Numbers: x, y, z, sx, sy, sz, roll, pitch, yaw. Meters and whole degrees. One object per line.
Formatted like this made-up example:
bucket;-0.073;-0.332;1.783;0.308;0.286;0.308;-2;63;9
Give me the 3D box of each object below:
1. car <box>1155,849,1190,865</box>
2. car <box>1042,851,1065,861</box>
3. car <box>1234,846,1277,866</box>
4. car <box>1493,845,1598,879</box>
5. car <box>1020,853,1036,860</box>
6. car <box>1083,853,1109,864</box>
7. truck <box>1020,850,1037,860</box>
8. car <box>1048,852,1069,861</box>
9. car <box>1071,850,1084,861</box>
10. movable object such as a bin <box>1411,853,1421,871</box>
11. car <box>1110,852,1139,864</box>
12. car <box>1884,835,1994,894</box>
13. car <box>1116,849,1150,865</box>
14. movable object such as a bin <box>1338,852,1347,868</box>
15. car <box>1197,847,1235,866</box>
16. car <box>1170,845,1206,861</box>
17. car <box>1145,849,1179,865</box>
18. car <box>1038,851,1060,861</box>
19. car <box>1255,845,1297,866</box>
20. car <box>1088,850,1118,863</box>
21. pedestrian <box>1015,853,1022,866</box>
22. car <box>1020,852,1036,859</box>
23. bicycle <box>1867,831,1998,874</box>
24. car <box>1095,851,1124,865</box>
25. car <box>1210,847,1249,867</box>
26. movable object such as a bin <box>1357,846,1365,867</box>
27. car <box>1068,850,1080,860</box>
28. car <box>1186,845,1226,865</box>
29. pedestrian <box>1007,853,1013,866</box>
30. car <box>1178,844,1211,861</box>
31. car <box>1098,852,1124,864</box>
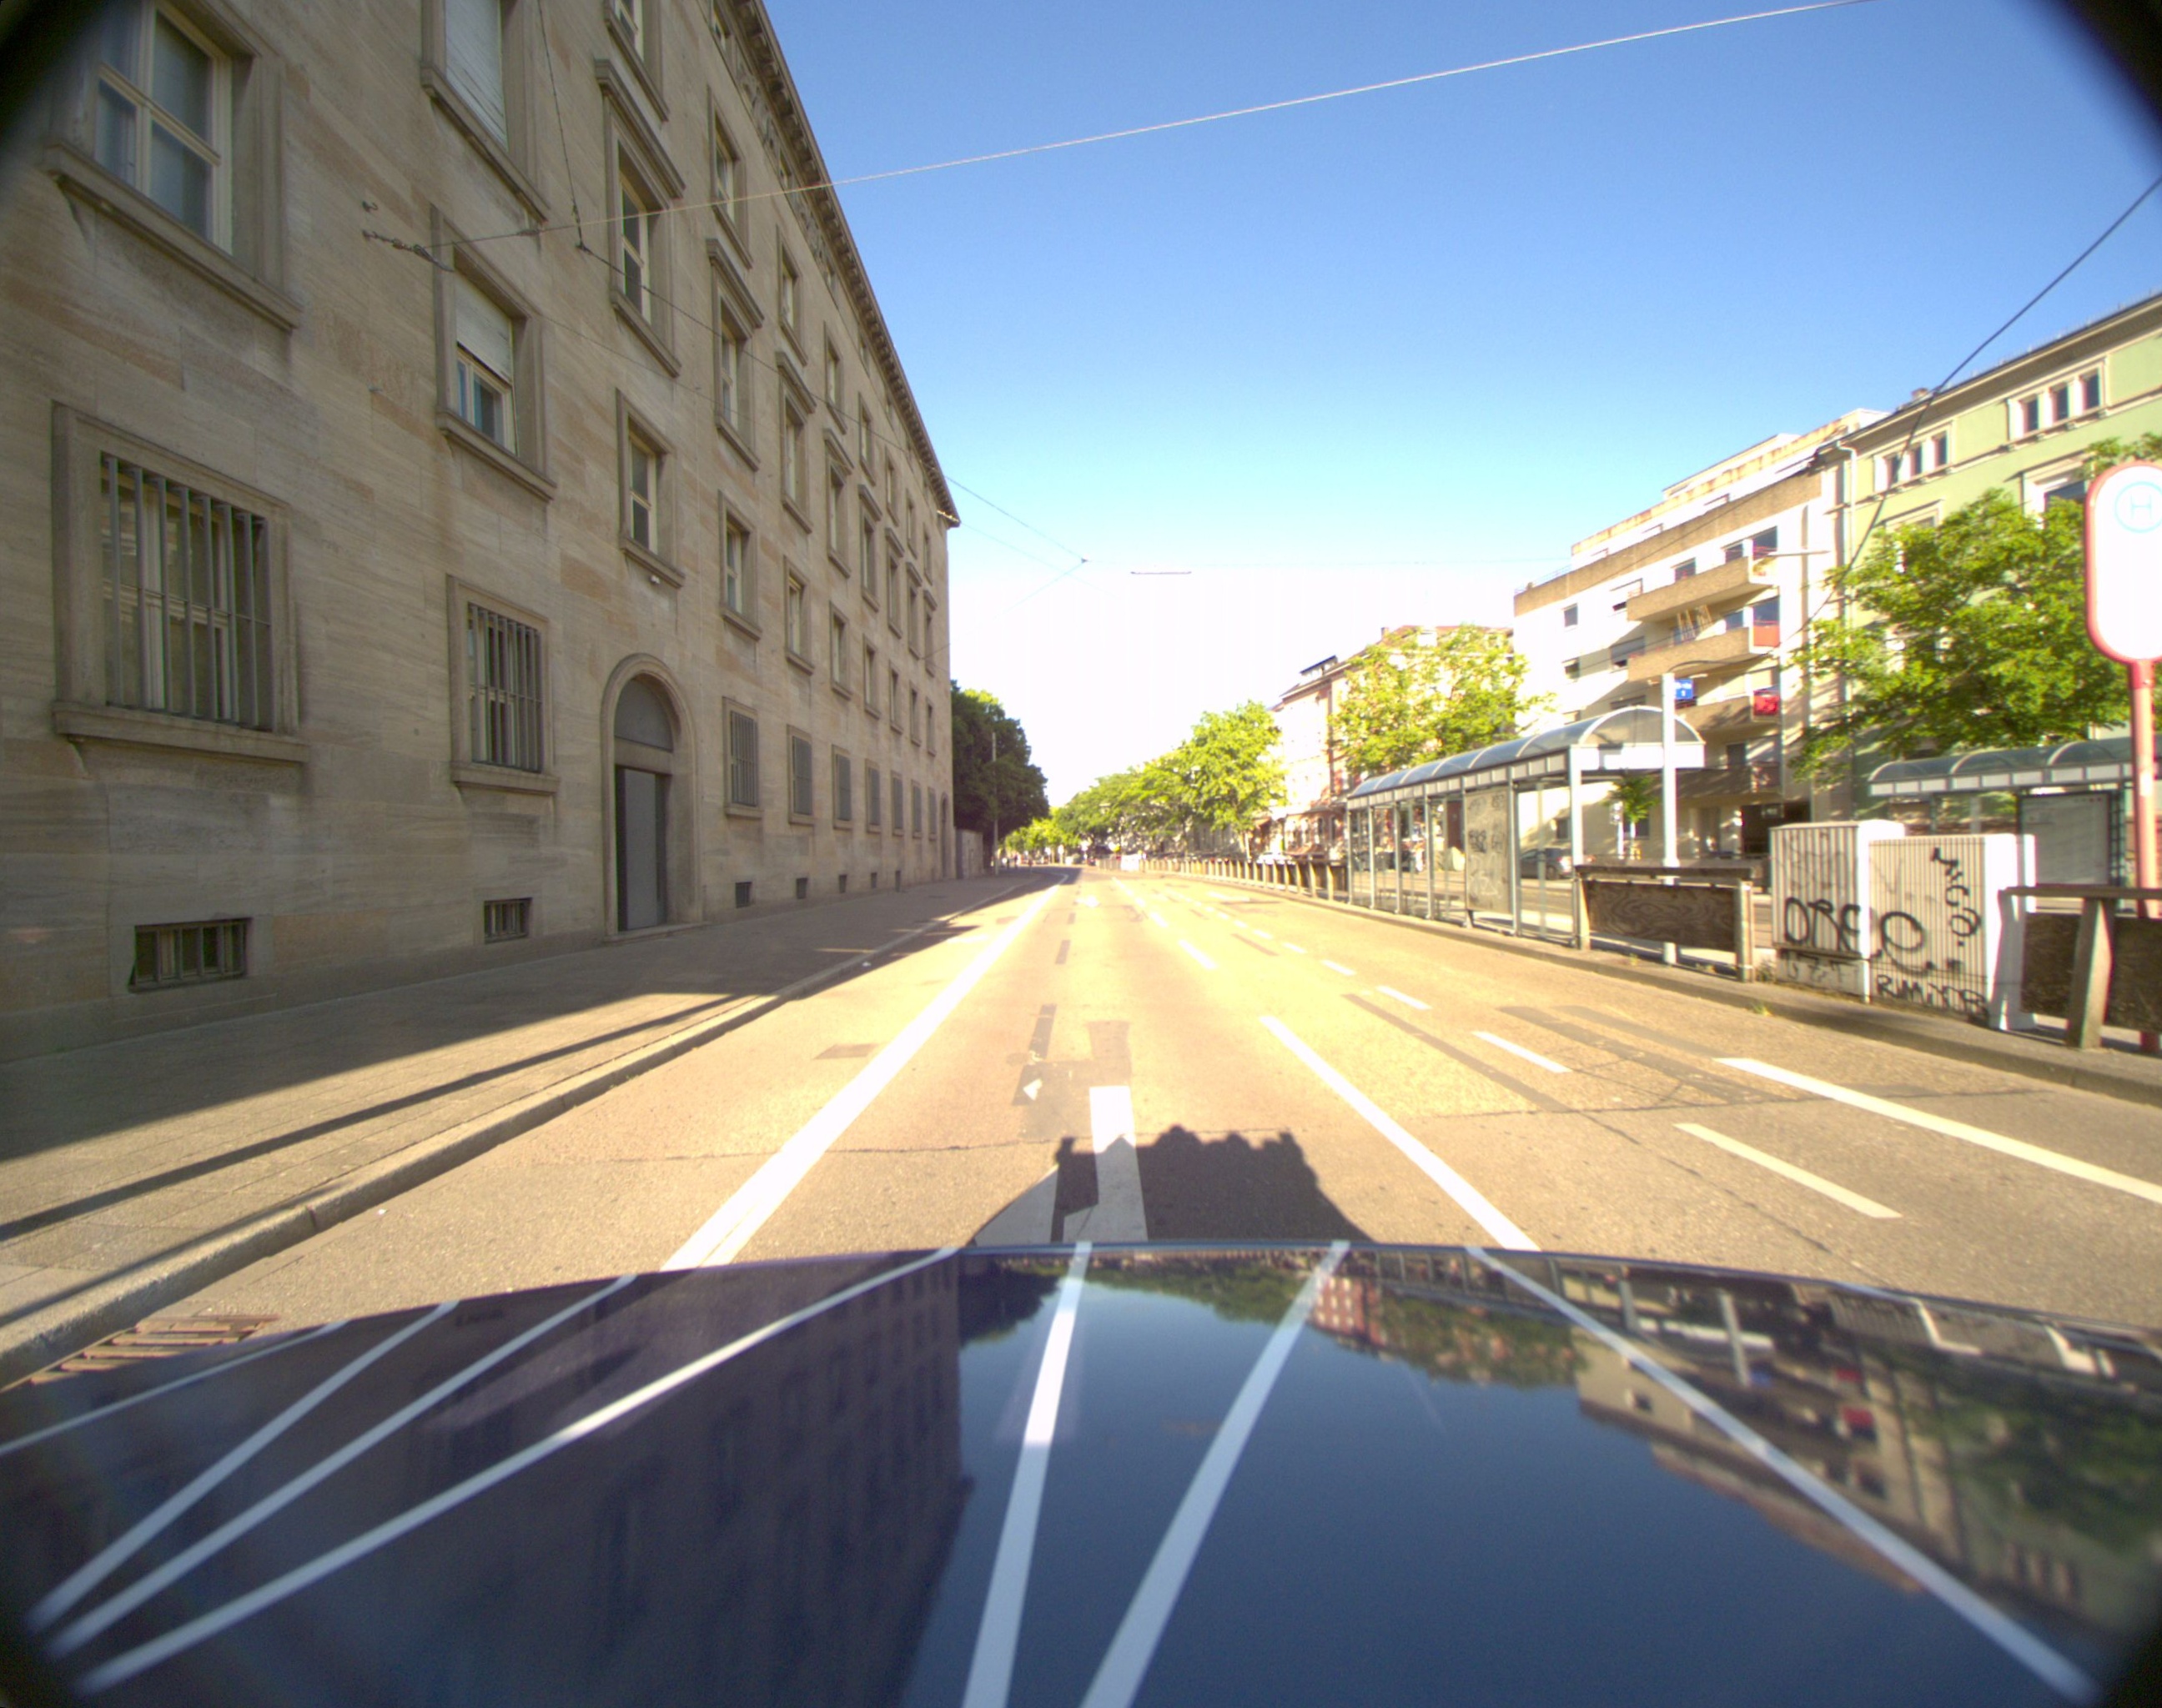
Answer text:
car;10.503;0.308;87.033;3.877;1.645;1.768;-4;2;-41
car;-5.858;0.405;161.492;4.311;1.940;1.670;-4;1;-19
car;15.324;0.174;66.745;3.929;1.499;1.685;-5;1;-43
car;20.853;0.340;34.314;1.711;1.402;4.289;-1;0;-8
car;-13.550;0.641;193.462;3.775;1.584;1.670;-4;1;-18
car;2.409;0.741;119.967;4.007;1.478;1.777;-4;2;-44
truck;-13.193;0.235;190.582;3.774;2.409;1.671;-4;1;-13
car;-4.665;0.548;157.796;4.105;1.561;1.670;-4;1;-18
car;-0.696;0.249;141.931;1.673;1.886;3.211;-1;0;-12
movable object such as a bin;21.492;0.516;48.770;0.380;1.090;0.552;-1;2;-6
car;6.308;0.569;109.230;4.208;1.549;1.636;-4;1;-41
car;24.809;0.256;22.111;4.524;1.417;1.868;-4;2;-45
car;6.490;0.313;94.347;4.208;1.788;1.781;-3;2;-41
movable object such as a bin;17.977;0.385;52.184;0.380;1.062;0.639;-1;1;0
car;13.215;0.264;74.182;1.630;1.607;3.993;-2;1;43
car;11.778;-0.122;83.584;3.829;1.477;1.766;-4;2;-41
car;9.678;0.369;90.357;3.877;1.645;1.768;-4;2;-41
car;-6.842;0.471;163.635;4.311;1.940;1.670;-4;1;-18
car;16.369;0.118;63.635;1.731;1.513;3.923;-3;1;41
car;3.384;0.379;117.150;4.366;1.704;1.944;-4;2;-35
pedestrian;-8.275;0.779;101.071;0.872;1.710;0.804;-1;1;-3
car;-13.766;0.452;196.067;3.775;1.584;1.670;-4;1;-18
bicycle;29.095;-0.060;26.078;0.719;1.390;3.007;-1;0;-14
car;4.244;0.592;111.626;4.208;1.714;1.780;-5;2;-44
car;13.977;0.255;71.393;1.630;1.607;3.993;-2;1;43
movable object such as a bin;18.837;0.149;51.123;0.380;1.418;0.386;-1;1;0
car;-1.339;0.155;146.176;1.673;1.886;3.211;-1;0;-12
car;12.828;0.104;77.532;4.293;1.713;1.703;-6;3;-43
pedestrian;-9.419;0.779;100.965;0.831;1.710;0.804;-1;1;-6
car;12.133;-0.116;80.901;3.286;1.524;1.703;-6;2;-43
car;4.595;0.576;114.871;1.744;1.511;3.772;-2;2;44
